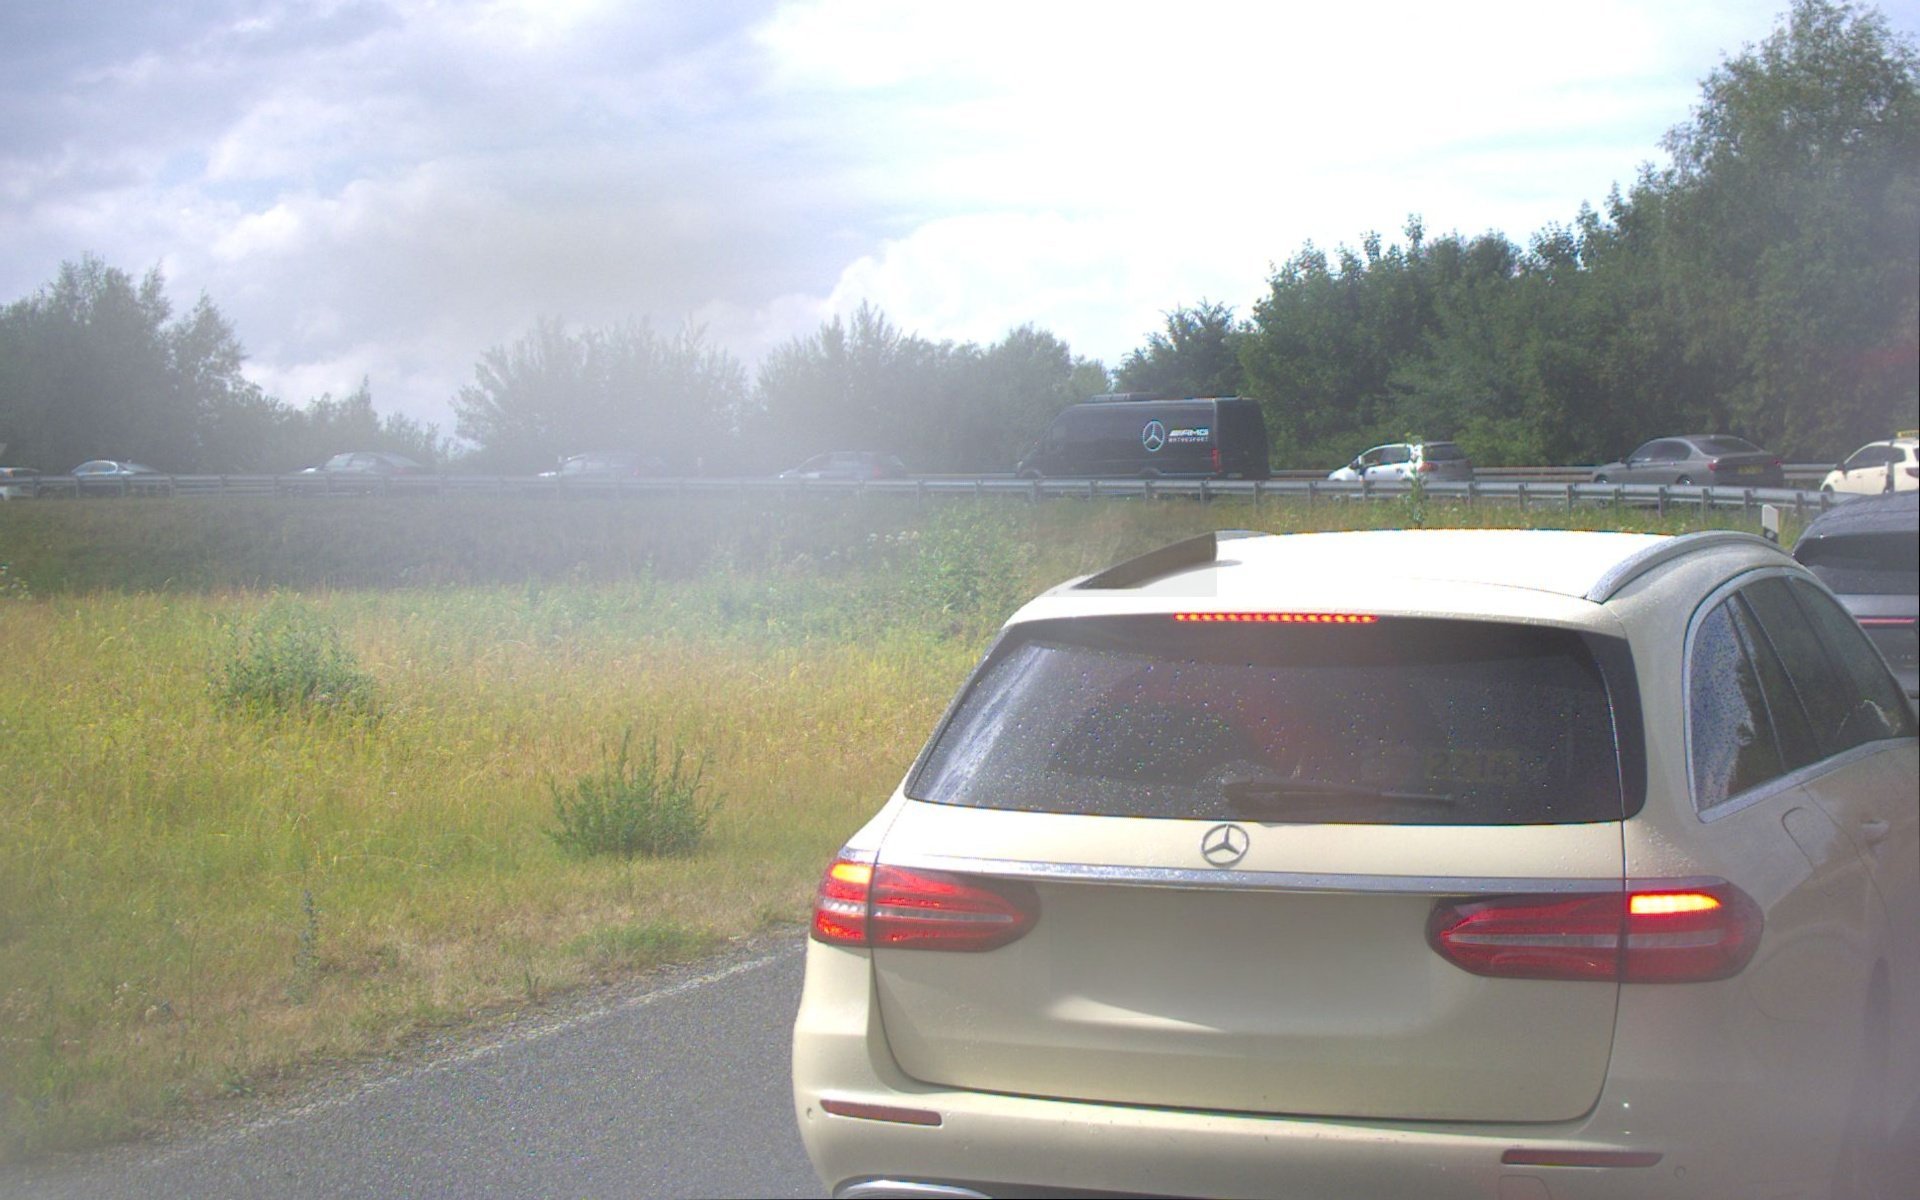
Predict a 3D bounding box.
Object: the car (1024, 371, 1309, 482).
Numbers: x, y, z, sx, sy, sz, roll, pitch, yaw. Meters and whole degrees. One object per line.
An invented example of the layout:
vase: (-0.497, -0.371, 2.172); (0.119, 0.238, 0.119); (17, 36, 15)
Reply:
car: (5.180, -4.365, 87.184); (6.979, 2.586, 2.868); (0, 3, 44)

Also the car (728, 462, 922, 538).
car: (-3.701, -2.714, 93.851); (5.050, 1.855, 1.996); (-2, 0, 34)

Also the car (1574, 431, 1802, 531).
car: (15.065, -2.445, 71.467); (1.993, 1.855, 5.058); (-2, 0, -24)

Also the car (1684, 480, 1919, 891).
car: (4.457, 0.245, 14.481); (1.720, 1.519, 3.994); (-2, 1, 27)

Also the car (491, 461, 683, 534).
car: (-10.627, -2.892, 97.908); (5.046, 1.855, 1.998); (-2, 0, 22)

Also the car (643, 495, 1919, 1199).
car: (1.199, 0.565, 7.508); (1.918, 1.502, 4.591); (1, 3, 21)

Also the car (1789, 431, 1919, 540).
car: (16.884, -2.066, 61.797); (1.993, 1.855, 5.059); (-3, 1, -9)

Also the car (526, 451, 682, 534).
car: (-10.157, -3.039, 98.175); (3.993, 2.007, 1.996); (-3, -4, 29)

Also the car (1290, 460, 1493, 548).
car: (10.149, -2.251, 81.272); (1.994, 1.855, 5.057); (-2, 0, -32)

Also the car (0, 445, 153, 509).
car: (-28.838, -3.983, 111.802); (5.049, 1.855, 1.997); (-2, 0, 31)

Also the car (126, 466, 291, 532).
car: (-23.166, -3.106, 106.052); (4.499, 1.855, 1.999); (-2, 0, 15)
